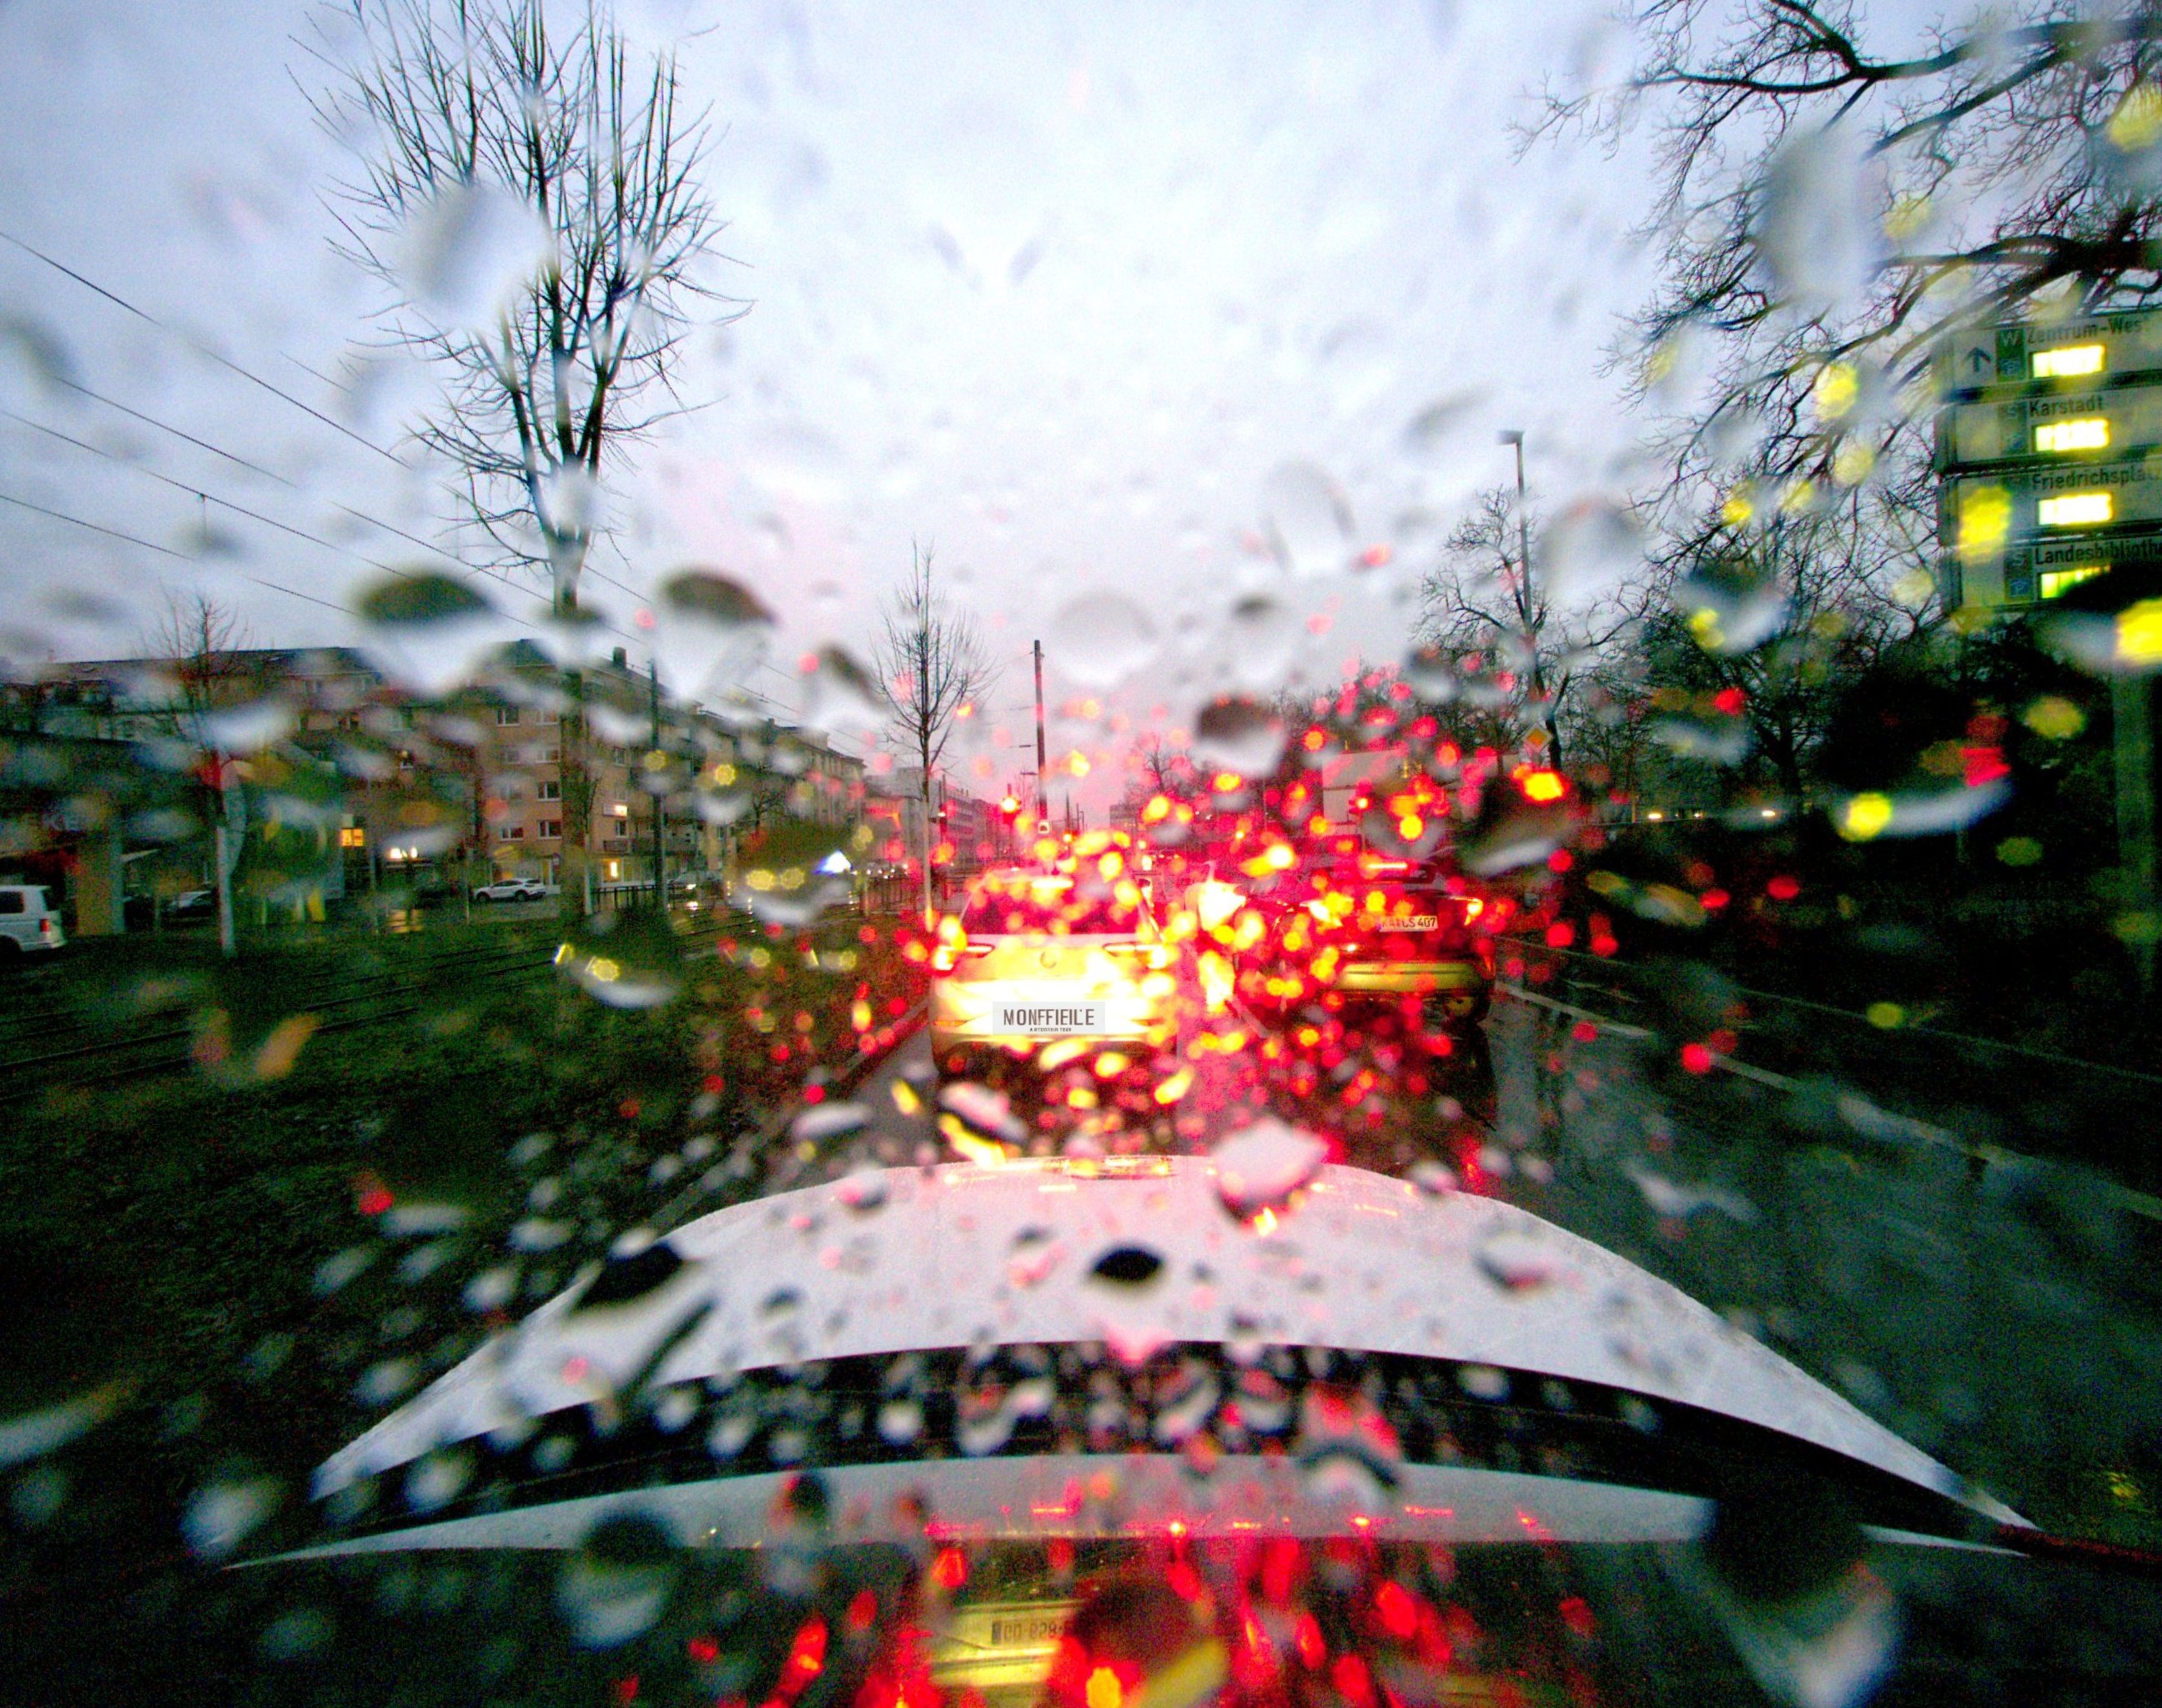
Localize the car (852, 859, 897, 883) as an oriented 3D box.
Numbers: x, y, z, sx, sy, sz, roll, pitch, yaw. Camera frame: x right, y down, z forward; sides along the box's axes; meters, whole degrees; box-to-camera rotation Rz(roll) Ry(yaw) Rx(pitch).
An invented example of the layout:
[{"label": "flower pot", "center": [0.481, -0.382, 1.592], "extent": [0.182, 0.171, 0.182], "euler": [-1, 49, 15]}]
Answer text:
[{"label": "car", "center": [-14.076, 1.151, 55.775], "extent": [1.986, 1.602, 4.001], "euler": [0, 0, 1]}]

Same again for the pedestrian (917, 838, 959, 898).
[{"label": "pedestrian", "center": [-4.930, 0.469, 28.096], "extent": [0.950, 2.013, 1.014], "euler": [-2, 0, 44]}]

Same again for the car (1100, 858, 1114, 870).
[{"label": "car", "center": [3.531, 1.310, 110.480], "extent": [1.731, 1.419, 4.396], "euler": [-2, 0, 2]}]

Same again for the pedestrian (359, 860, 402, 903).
[{"label": "pedestrian", "center": [-33.847, 1.309, 39.367], "extent": [1.274, 2.013, 1.000], "euler": [-2, 0, -22]}]

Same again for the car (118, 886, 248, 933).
[{"label": "car", "center": [-43.086, 2.631, 39.217], "extent": [1.886, 2.014, 3.876], "euler": [0, 0, 2]}]

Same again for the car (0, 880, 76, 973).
[{"label": "car", "center": [-28.662, 1.834, 19.956], "extent": [4.859, 2.244, 1.975], "euler": [0, 0, -44]}]

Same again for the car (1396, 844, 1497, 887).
[{"label": "car", "center": [17.367, 0.542, 38.903], "extent": [4.237, 1.943, 2.009], "euler": [0, 0, 18]}]

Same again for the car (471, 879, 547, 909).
[{"label": "car", "center": [-38.560, 2.696, 55.006], "extent": [3.743, 1.942, 1.838], "euler": [0, 0, -6]}]

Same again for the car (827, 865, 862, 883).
[{"label": "car", "center": [-21.819, 1.840, 75.270], "extent": [1.942, 1.602, 4.002], "euler": [0, 0, 2]}]

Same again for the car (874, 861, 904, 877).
[{"label": "car", "center": [-19.489, 1.475, 82.668], "extent": [1.942, 1.602, 4.002], "euler": [0, 0, 2]}]

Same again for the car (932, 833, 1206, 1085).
[{"label": "car", "center": [-0.113, 0.640, 7.071], "extent": [1.688, 1.533, 3.998], "euler": [-1, 0, -1]}]

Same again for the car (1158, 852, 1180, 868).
[{"label": "car", "center": [8.145, 0.553, 75.863], "extent": [1.731, 1.419, 3.705], "euler": [-2, 0, 2]}]

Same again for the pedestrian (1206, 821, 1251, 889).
[{"label": "pedestrian", "center": [4.575, 0.029, 25.323], "extent": [0.962, 2.013, 1.001], "euler": [-2, 0, -21]}]

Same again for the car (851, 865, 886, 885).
[{"label": "car", "center": [-18.603, 1.794, 71.432], "extent": [1.860, 1.577, 4.002], "euler": [-2, 0, 2]}]

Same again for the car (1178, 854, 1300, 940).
[{"label": "car", "center": [2.866, 0.722, 15.467], "extent": [1.738, 1.433, 3.733], "euler": [0, 0, 2]}]

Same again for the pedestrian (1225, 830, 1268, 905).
[{"label": "pedestrian", "center": [4.617, 0.377, 22.812], "extent": [0.955, 2.013, 1.008], "euler": [-2, 0, 1]}]

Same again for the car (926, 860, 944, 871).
[{"label": "car", "center": [-23.254, 1.840, 129.925], "extent": [1.942, 1.602, 4.002], "euler": [0, 0, 2]}]

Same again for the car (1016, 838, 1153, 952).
[{"label": "car", "center": [0.136, 0.547, 13.272], "extent": [1.792, 1.466, 4.588], "euler": [-2, 0, 2]}]

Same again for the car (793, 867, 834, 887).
[{"label": "car", "center": [-18.876, 1.618, 57.613], "extent": [1.688, 1.277, 4.142], "euler": [-2, 0, -4]}]

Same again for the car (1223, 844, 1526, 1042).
[{"label": "car", "center": [2.657, 0.704, 8.382], "extent": [1.793, 1.511, 3.897], "euler": [-2, 0, 2]}]

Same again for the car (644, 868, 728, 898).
[{"label": "car", "center": [-19.058, 1.381, 39.530], "extent": [1.852, 1.332, 4.317], "euler": [0, 0, 2]}]

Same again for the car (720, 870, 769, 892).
[{"label": "car", "center": [-22.172, 1.778, 53.776], "extent": [1.685, 1.277, 3.537], "euler": [-2, 0, 1]}]

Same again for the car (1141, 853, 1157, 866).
[{"label": "car", "center": [8.369, 0.650, 99.897], "extent": [1.731, 1.419, 3.705], "euler": [-2, 0, 2]}]
